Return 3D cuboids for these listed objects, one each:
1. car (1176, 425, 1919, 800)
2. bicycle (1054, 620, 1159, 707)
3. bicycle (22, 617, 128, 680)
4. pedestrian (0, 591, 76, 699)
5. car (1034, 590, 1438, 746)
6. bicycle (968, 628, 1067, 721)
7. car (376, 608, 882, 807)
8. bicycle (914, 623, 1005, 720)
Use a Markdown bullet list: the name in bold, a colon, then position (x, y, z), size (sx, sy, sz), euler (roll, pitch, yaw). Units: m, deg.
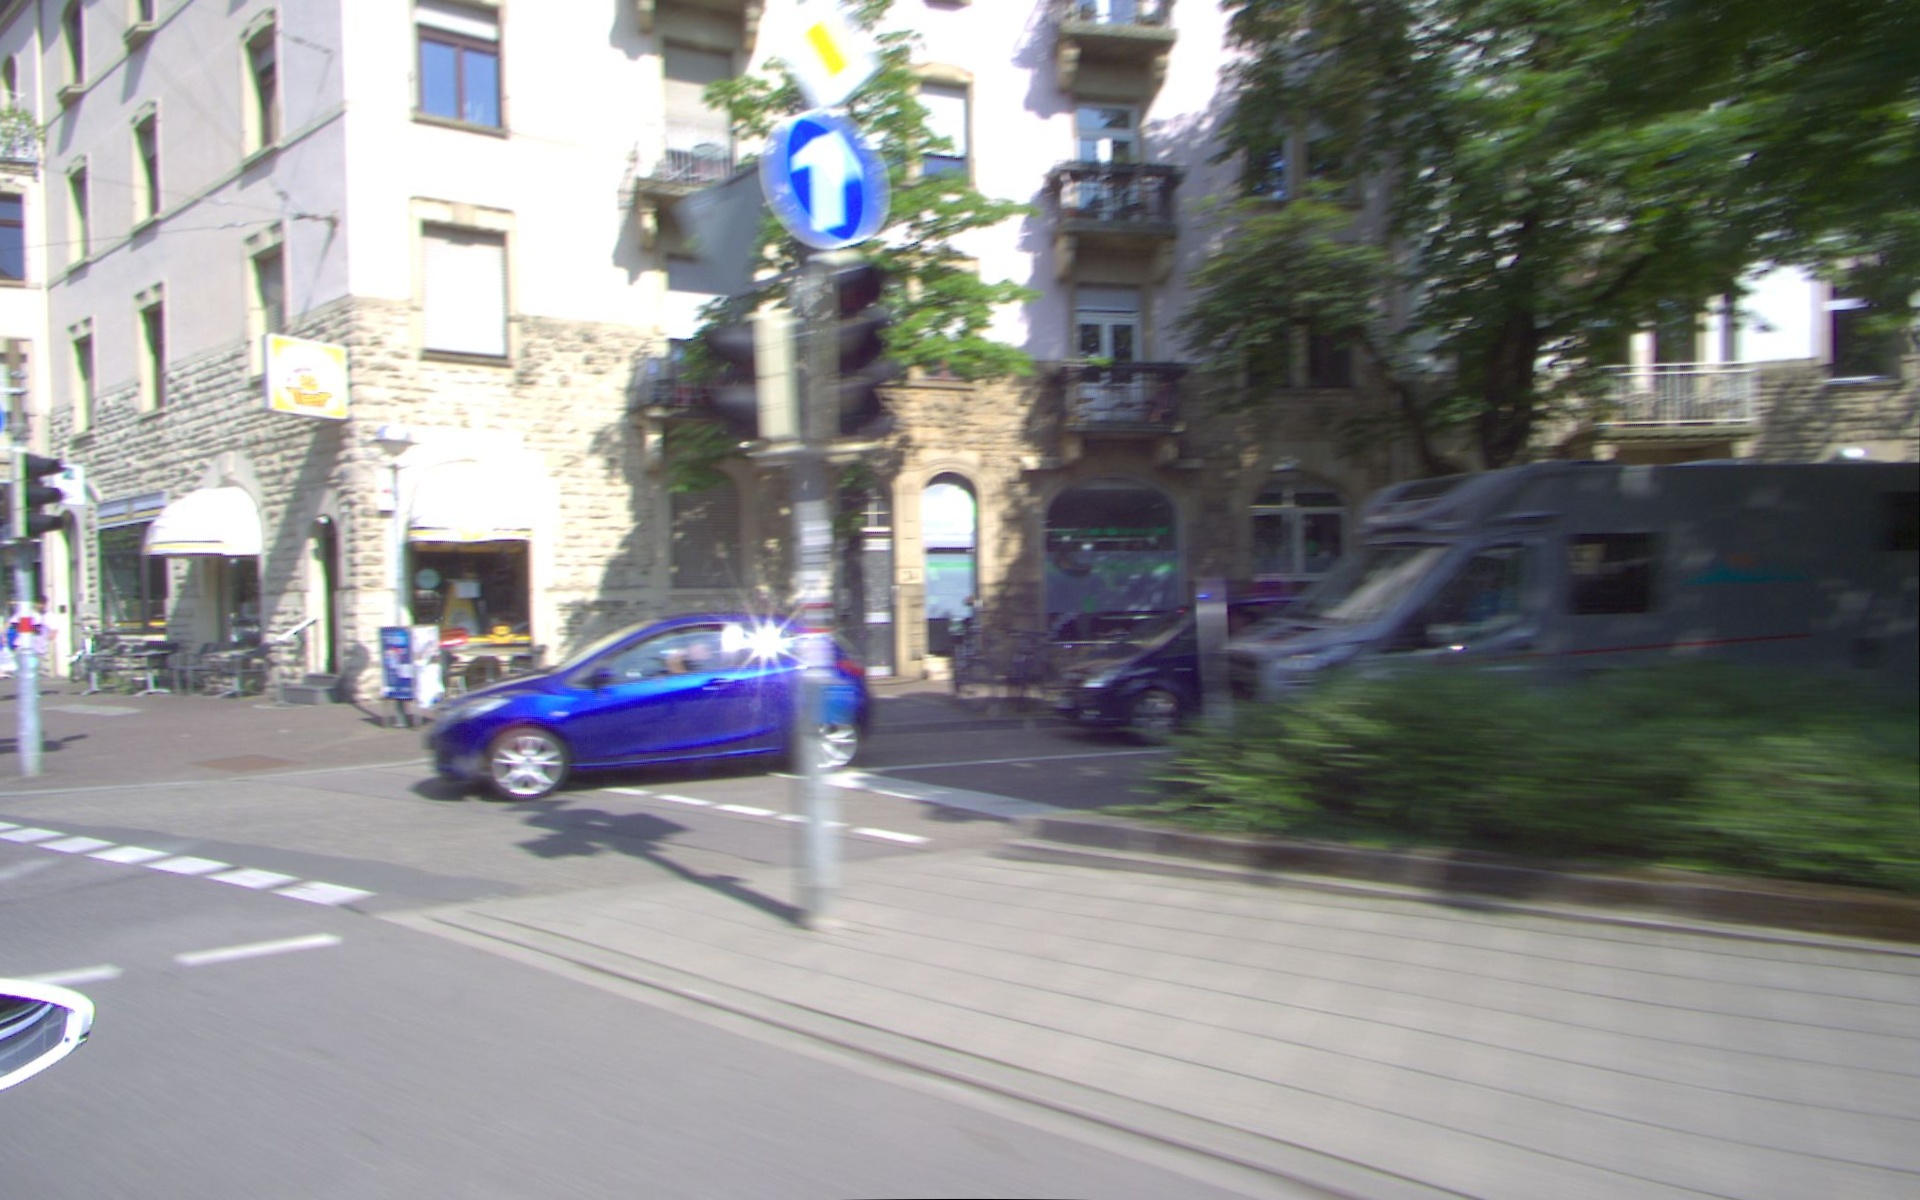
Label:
- **car**: position (5.512, 0.071, 9.064), size (6.546, 2.832, 2.391), euler (0, 1, -6)
- **bicycle**: position (2.072, 0.873, 14.478), size (0.578, 1.131, 1.966), euler (0, 0, -22)
- **bicycle**: position (-17.820, 0.970, 20.143), size (2.712, 1.192, 0.804), euler (-1, -2, 31)
- **pedestrian**: position (-16.285, 0.753, 17.518), size (0.838, 1.793, 1.007), euler (1, 3, 35)
- **car**: position (3.002, 0.734, 11.318), size (4.035, 1.574, 1.729), euler (0, -2, -9)
- **bicycle**: position (0.765, 0.989, 13.980), size (0.578, 1.155, 1.966), euler (0, 0, -22)
- **car**: position (-2.867, 0.824, 9.102), size (3.933, 1.437, 1.887), euler (-1, 0, -21)
- **bicycle**: position (-0.040, 0.959, 14.054), size (0.578, 1.225, 1.966), euler (0, 0, -22)
